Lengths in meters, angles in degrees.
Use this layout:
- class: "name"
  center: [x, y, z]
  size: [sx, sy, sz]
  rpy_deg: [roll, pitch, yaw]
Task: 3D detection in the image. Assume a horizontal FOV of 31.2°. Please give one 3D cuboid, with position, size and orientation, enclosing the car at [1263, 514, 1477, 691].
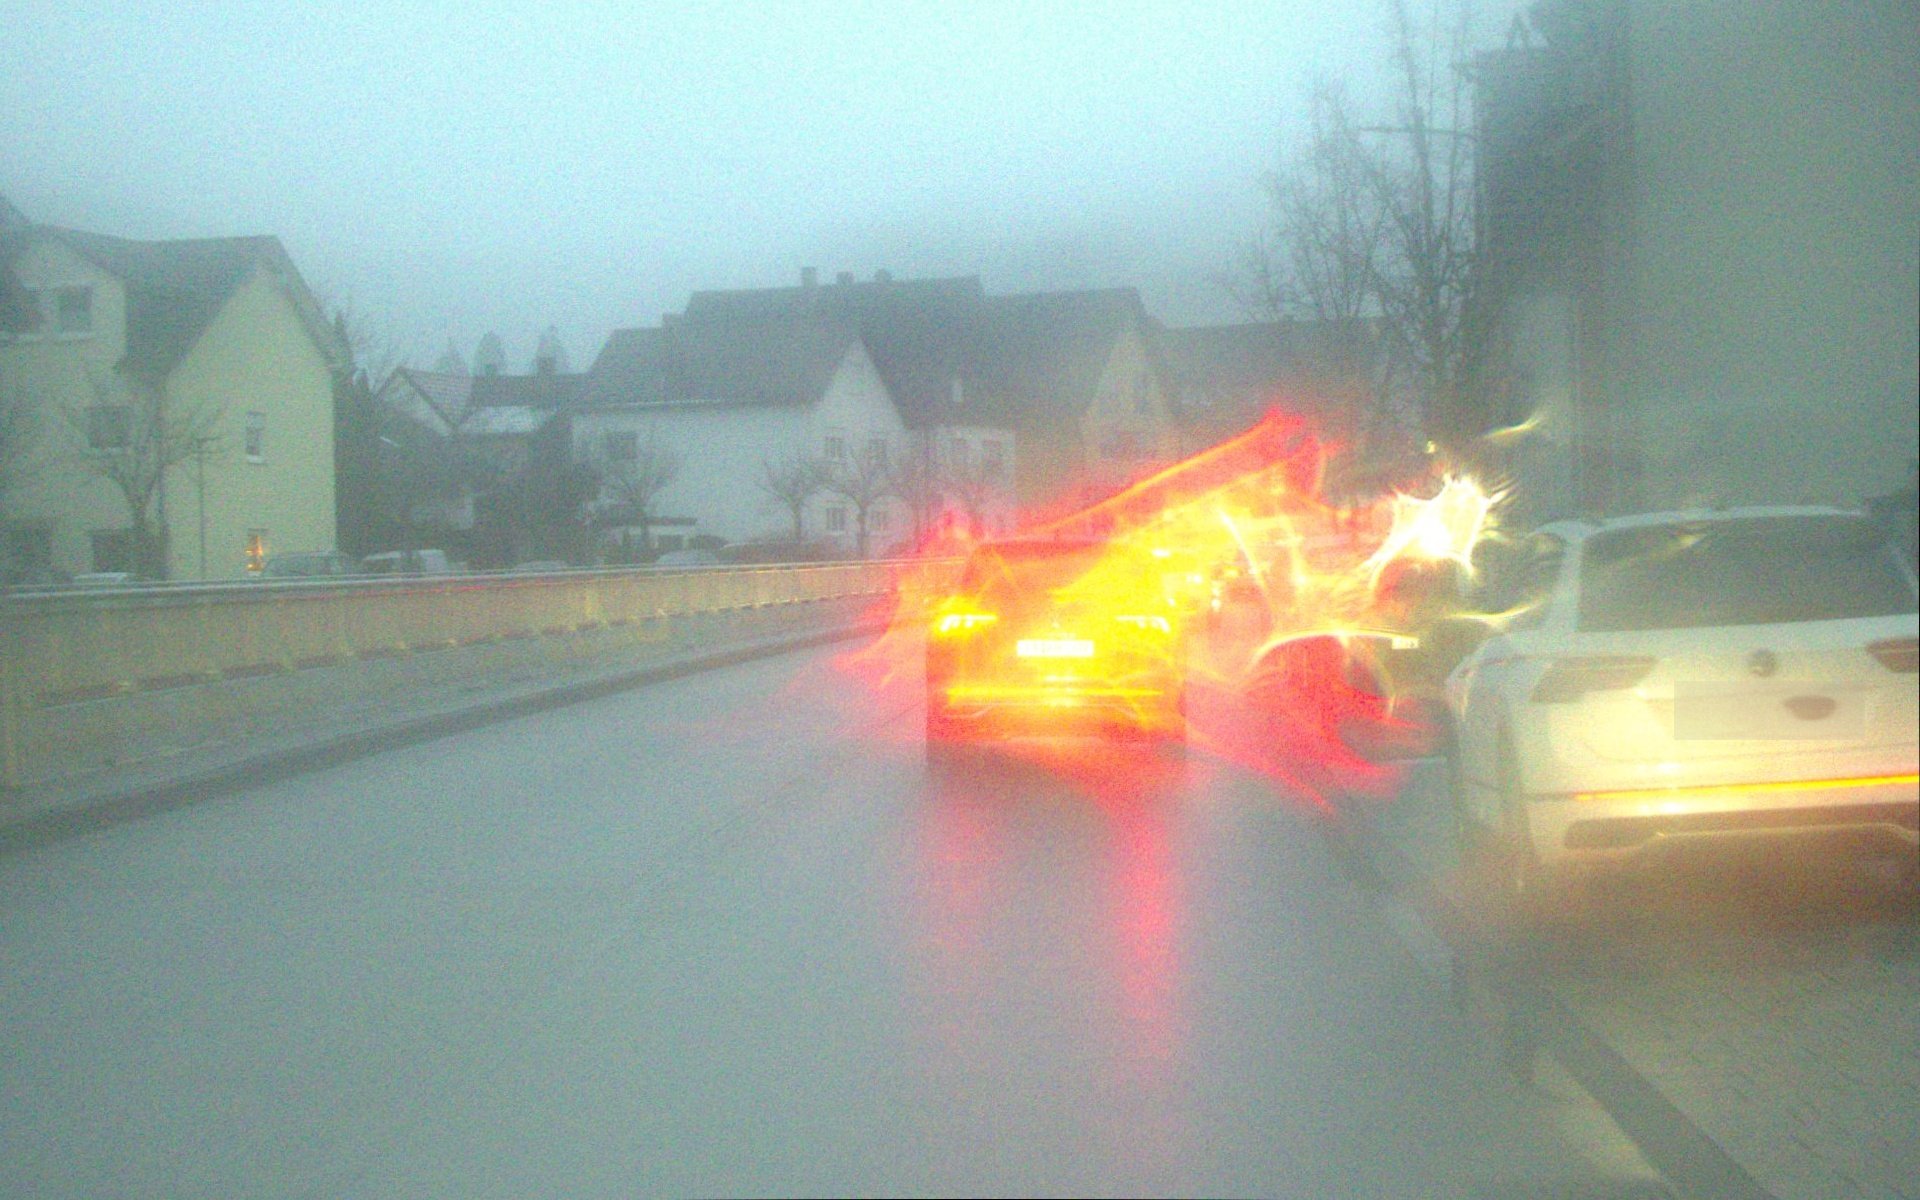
- class: "car"
  center: [4.243, 0.019, 35.090]
  size: [1.994, 1.664, 3.998]
  rpy_deg: [1, 0, 9]

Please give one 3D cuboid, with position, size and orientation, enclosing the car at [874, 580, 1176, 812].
- class: "car"
  center: [0.540, 0.629, 24.860]
  size: [1.994, 1.520, 4.000]
  rpy_deg: [0, 0, 3]

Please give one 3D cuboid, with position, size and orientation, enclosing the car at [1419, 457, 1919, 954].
- class: "car"
  center: [3.093, 0.337, 14.961]
  size: [1.745, 1.779, 4.336]
  rpy_deg: [-3, 1, 3]

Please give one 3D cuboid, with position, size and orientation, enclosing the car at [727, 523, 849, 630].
- class: "car"
  center: [-3.293, -0.442, 66.469]
  size: [1.993, 2.007, 4.000]
  rpy_deg: [0, 0, 2]

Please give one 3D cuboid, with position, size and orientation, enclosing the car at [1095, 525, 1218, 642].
- class: "car"
  center: [3.545, -0.284, 61.437]
  size: [1.994, 2.007, 3.999]
  rpy_deg: [0, 0, 6]

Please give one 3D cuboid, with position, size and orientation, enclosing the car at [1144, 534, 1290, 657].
- class: "car"
  center: [3.742, -0.089, 49.764]
  size: [1.994, 1.674, 3.999]
  rpy_deg: [1, 1, 5]

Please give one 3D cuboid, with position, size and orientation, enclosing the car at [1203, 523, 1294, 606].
- class: "car"
  center: [7.227, -0.859, 85.754]
  size: [1.994, 2.007, 3.998]
  rpy_deg: [0, 0, 9]

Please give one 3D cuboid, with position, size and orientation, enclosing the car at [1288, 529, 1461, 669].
- class: "car"
  center: [5.250, -0.037, 43.167]
  size: [1.994, 1.664, 3.999]
  rpy_deg: [0, 1, 9]
